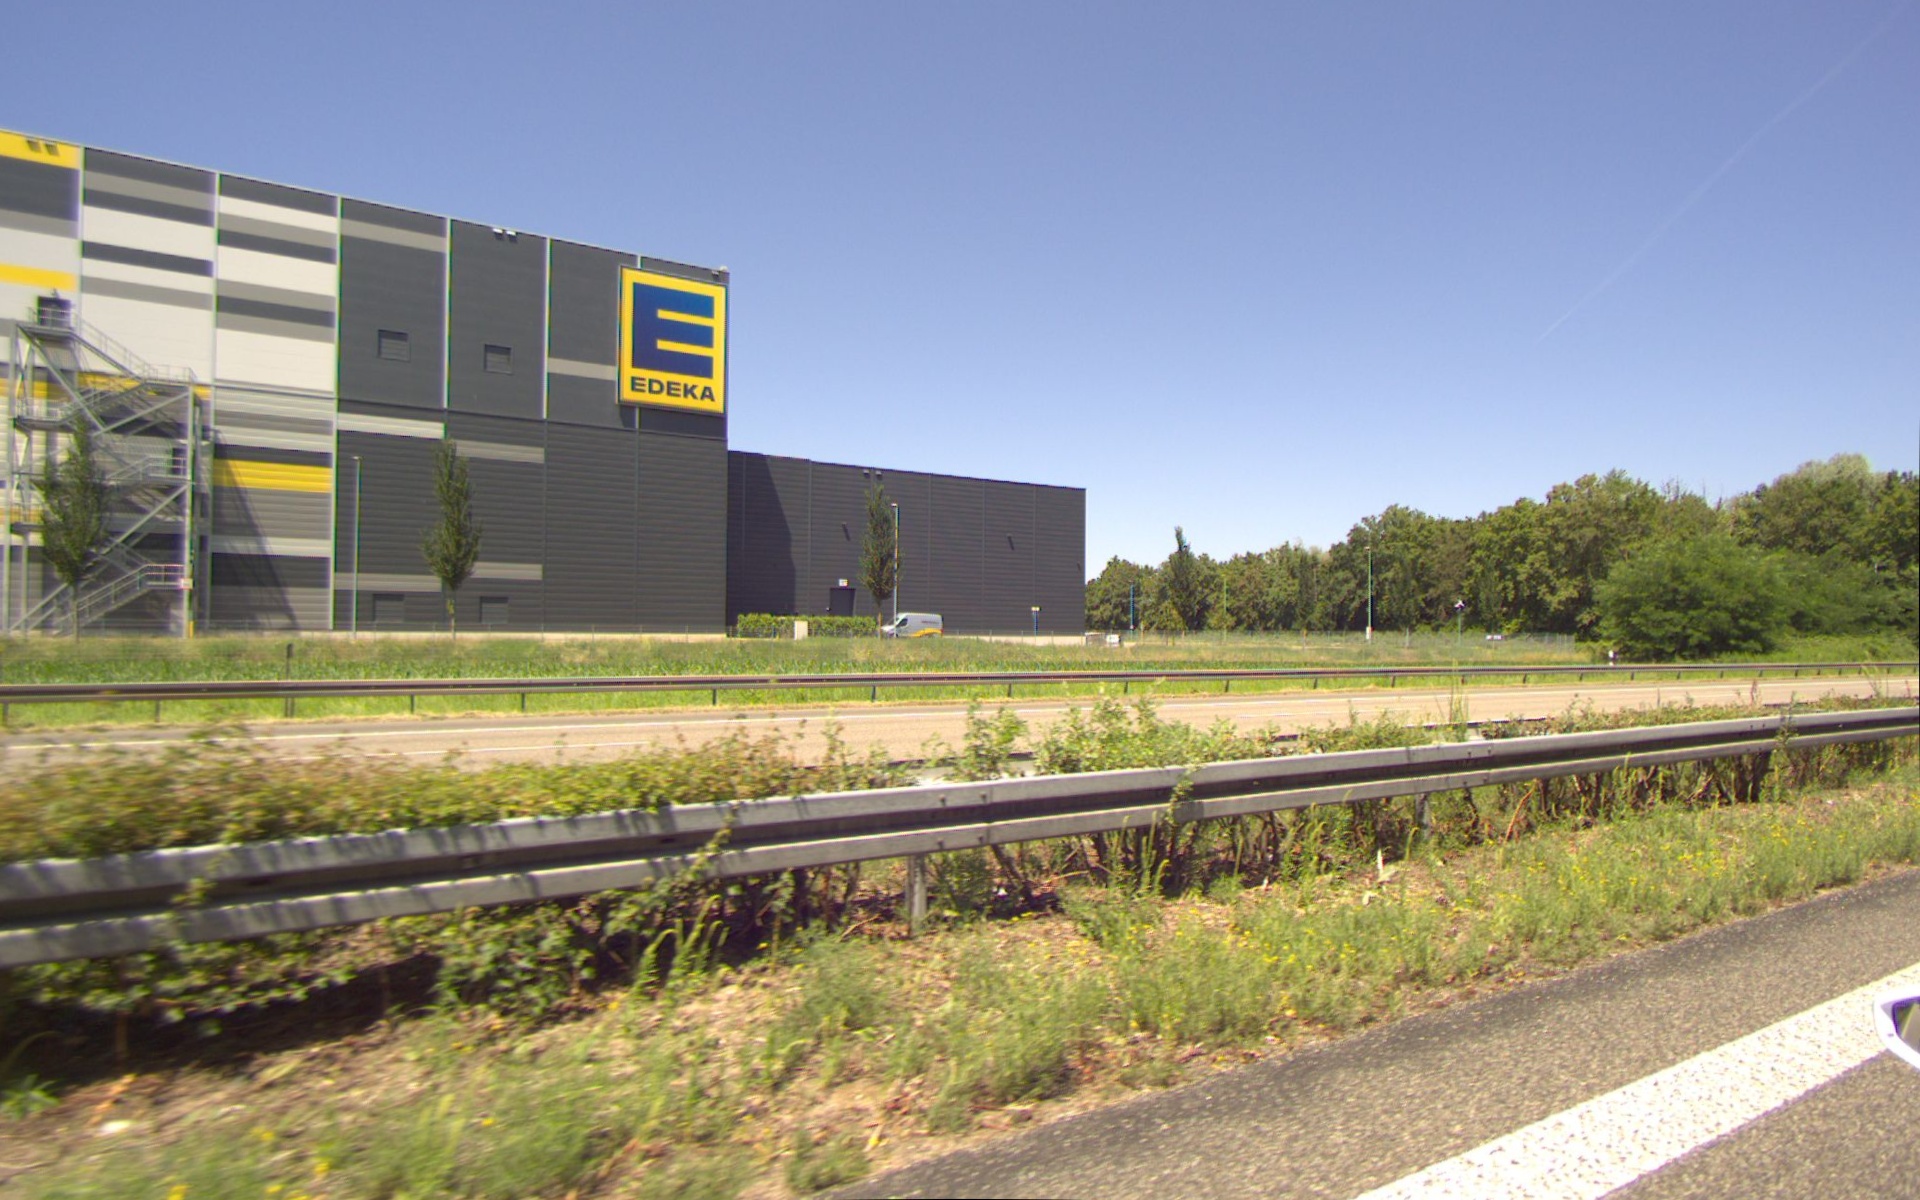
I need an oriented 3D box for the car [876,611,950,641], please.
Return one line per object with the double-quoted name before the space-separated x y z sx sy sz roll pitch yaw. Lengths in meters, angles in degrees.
"car" -4.079 2.313 87.735 6.102 2.488 2.386 2 -2 -31
